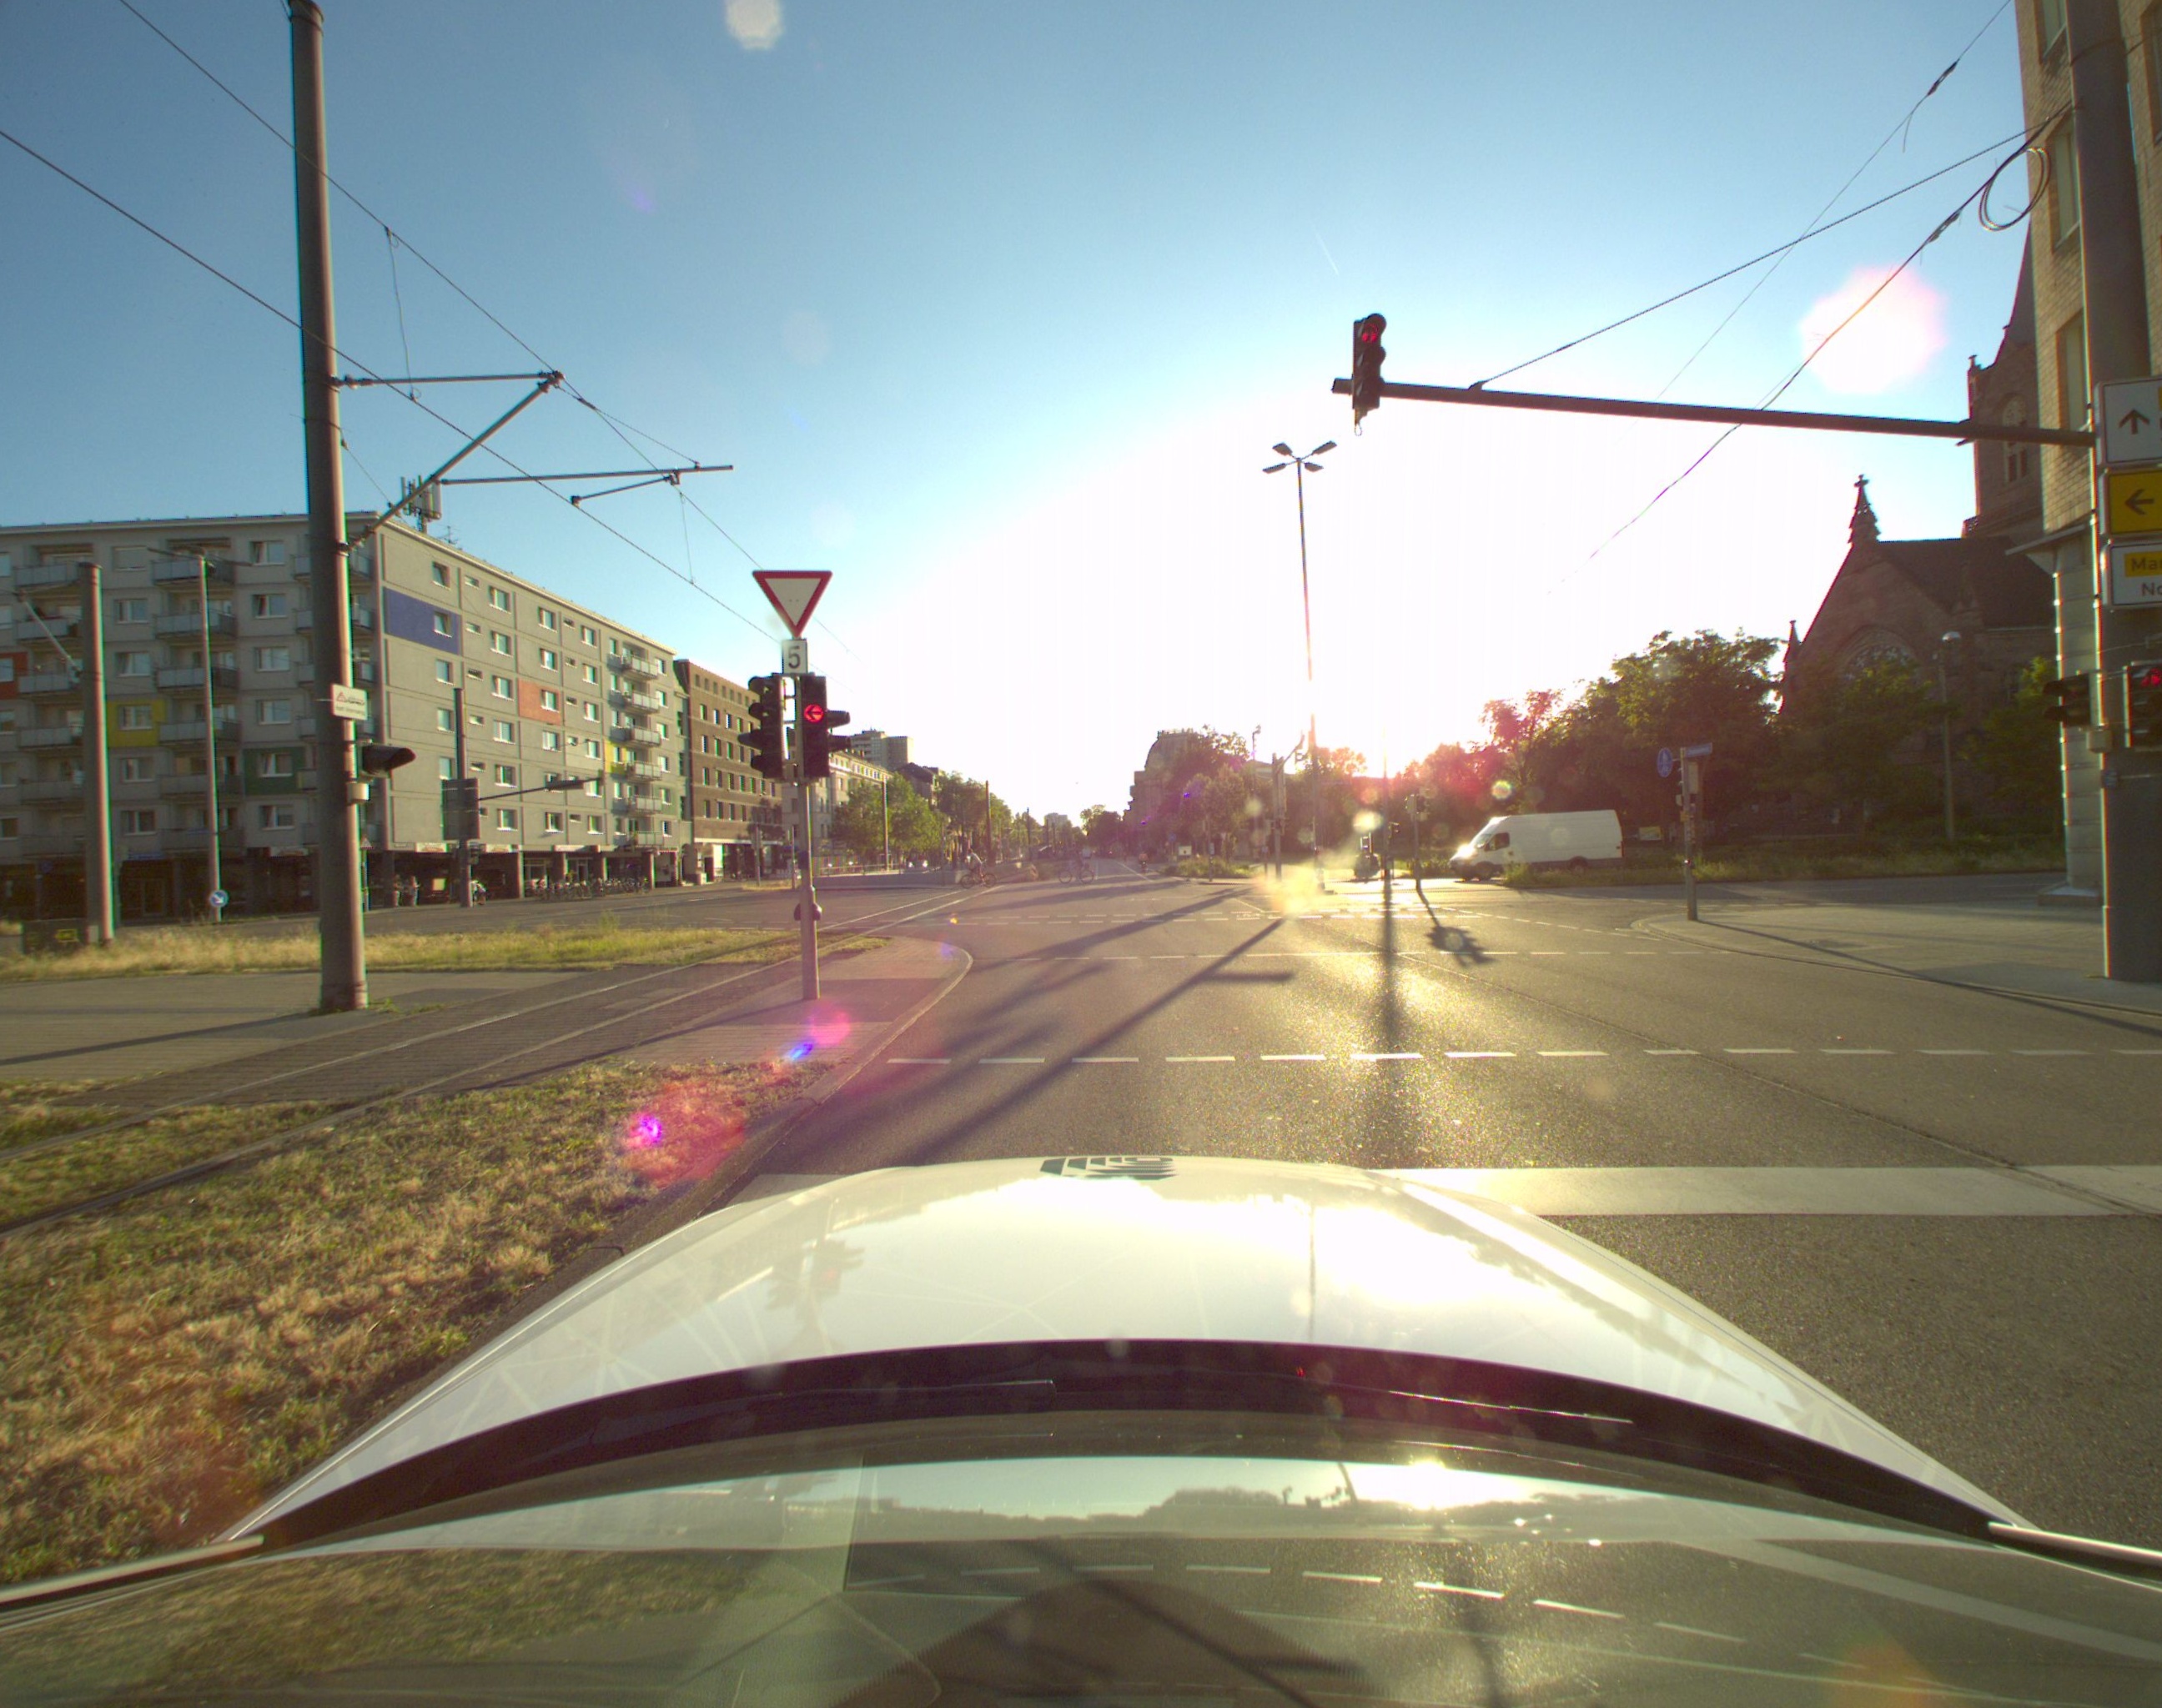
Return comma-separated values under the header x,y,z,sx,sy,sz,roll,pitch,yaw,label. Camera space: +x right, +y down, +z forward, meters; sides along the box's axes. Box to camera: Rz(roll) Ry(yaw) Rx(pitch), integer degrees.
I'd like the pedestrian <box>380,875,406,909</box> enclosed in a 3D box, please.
x,y,z,sx,sy,sz,roll,pitch,yaw,label
-37.720,2.097,44.633,0.826,1.813,0.718,-1,-1,-9,pedestrian

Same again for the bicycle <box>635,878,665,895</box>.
x,y,z,sx,sy,sz,roll,pitch,yaw,label
-30.897,2.321,58.415,1.683,1.170,0.749,-2,0,3,bicycle

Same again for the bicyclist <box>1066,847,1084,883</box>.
x,y,z,sx,sy,sz,roll,pitch,yaw,label
-0.329,0.581,42.943,0.873,1.818,0.538,-2,0,-1,bicyclist

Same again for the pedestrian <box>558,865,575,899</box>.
x,y,z,sx,sy,sz,roll,pitch,yaw,label
-34.354,1.863,54.379,0.599,2.178,0.792,-2,0,1,pedestrian

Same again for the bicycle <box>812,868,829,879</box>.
x,y,z,sx,sy,sz,roll,pitch,yaw,label
-25.973,1.940,81.163,0.503,0.944,1.678,-2,0,27,bicycle

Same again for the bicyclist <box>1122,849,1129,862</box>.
x,y,z,sx,sy,sz,roll,pitch,yaw,label
6.860,0.213,124.893,0.922,2.013,0.851,-2,0,1,bicyclist

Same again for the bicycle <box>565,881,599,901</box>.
x,y,z,sx,sy,sz,roll,pitch,yaw,label
-31.285,2.311,51.054,1.759,1.167,0.540,-2,0,2,bicycle

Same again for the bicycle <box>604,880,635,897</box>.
x,y,z,sx,sy,sz,roll,pitch,yaw,label
-31.147,2.321,54.975,1.748,1.117,0.552,-2,0,2,bicycle

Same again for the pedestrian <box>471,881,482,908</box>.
x,y,z,sx,sy,sz,roll,pitch,yaw,label
-32.841,2.194,44.228,0.383,1.383,0.392,-2,0,-26,pedestrian

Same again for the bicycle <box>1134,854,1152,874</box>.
x,y,z,sx,sy,sz,roll,pitch,yaw,label
4.473,0.730,58.985,1.094,1.399,2.833,-2,0,2,bicycle

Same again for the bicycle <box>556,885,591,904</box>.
x,y,z,sx,sy,sz,roll,pitch,yaw,label
-31.461,2.509,50.482,1.750,1.139,0.600,-2,0,2,bicycle

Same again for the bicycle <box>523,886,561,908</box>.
x,y,z,sx,sy,sz,roll,pitch,yaw,label
-32.286,2.568,48.801,1.788,1.208,0.638,-2,0,0,bicycle

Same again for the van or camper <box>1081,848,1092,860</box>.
x,y,z,sx,sy,sz,roll,pitch,yaw,label
1.296,0.084,192.632,2.441,2.770,5.600,-2,0,0,van or camper

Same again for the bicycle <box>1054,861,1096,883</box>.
x,y,z,sx,sy,sz,roll,pitch,yaw,label
-0.308,0.946,42.935,2.157,1.083,0.538,-1,-1,-1,bicycle

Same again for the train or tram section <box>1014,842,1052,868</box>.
x,y,z,sx,sy,sz,roll,pitch,yaw,label
-7.953,0.055,137.379,4.363,3.849,11.433,-2,2,7,train or tram section

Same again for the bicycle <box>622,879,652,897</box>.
x,y,z,sx,sy,sz,roll,pitch,yaw,label
-30.990,2.381,56.886,1.683,1.153,0.706,-2,0,3,bicycle

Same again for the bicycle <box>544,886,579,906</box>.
x,y,z,sx,sy,sz,roll,pitch,yaw,label
-31.807,2.591,49.862,1.770,1.142,0.608,-2,0,1,bicycle

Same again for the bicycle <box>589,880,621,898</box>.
x,y,z,sx,sy,sz,roll,pitch,yaw,label
-31.824,2.357,54.434,1.764,1.136,0.606,-2,0,2,bicycle

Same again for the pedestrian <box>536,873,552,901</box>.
x,y,z,sx,sy,sz,roll,pitch,yaw,label
-33.245,2.028,50.406,0.576,1.684,0.547,-2,0,3,pedestrian

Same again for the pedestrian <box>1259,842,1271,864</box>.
x,y,z,sx,sy,sz,roll,pitch,yaw,label
15.125,-0.104,66.883,0.826,1.803,0.814,-2,0,17,pedestrian

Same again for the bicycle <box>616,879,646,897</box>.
x,y,z,sx,sy,sz,roll,pitch,yaw,label
-31.058,2.349,56.193,1.719,1.124,0.634,-2,-1,3,bicycle

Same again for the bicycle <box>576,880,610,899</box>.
x,y,z,sx,sy,sz,roll,pitch,yaw,label
-31.799,2.330,53.109,1.824,1.160,0.640,-2,0,1,bicycle

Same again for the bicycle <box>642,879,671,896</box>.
x,y,z,sx,sy,sz,roll,pitch,yaw,label
-30.807,2.404,59.144,1.683,1.144,0.697,-2,0,3,bicycle

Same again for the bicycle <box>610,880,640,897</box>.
x,y,z,sx,sy,sz,roll,pitch,yaw,label
-31.110,2.339,55.561,1.754,1.119,0.568,-2,0,2,bicycle

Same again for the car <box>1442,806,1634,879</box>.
x,y,z,sx,sy,sz,roll,pitch,yaw,label
19.600,-0.485,35.207,6.981,2.827,2.095,-2,0,3,car

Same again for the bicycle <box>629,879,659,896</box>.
x,y,z,sx,sy,sz,roll,pitch,yaw,label
-30.936,2.363,57.639,1.683,1.179,0.749,-2,0,3,bicycle

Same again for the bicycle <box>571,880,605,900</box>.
x,y,z,sx,sy,sz,roll,pitch,yaw,label
-31.249,2.290,51.652,1.762,1.182,0.568,-2,0,1,bicycle

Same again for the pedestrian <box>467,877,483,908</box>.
x,y,z,sx,sy,sz,roll,pitch,yaw,label
-32.517,2.042,43.716,0.575,1.620,0.598,-2,0,-29,pedestrian

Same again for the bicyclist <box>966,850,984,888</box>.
x,y,z,sx,sy,sz,roll,pitch,yaw,label
-5.170,0.727,39.798,0.792,1.818,0.645,-2,0,-7,bicyclist

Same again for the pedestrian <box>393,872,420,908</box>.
x,y,z,sx,sy,sz,roll,pitch,yaw,label
-36.317,1.940,43.842,0.785,1.841,0.733,-2,0,-7,pedestrian

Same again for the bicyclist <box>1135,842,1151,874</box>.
x,y,z,sx,sy,sz,roll,pitch,yaw,label
4.464,0.303,58.931,1.078,2.276,0.986,-2,0,1,bicyclist

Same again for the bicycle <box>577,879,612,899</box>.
x,y,z,sx,sy,sz,roll,pitch,yaw,label
-31.241,2.258,52.302,1.782,1.191,0.652,-2,0,1,bicycle

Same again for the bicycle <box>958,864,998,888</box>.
x,y,z,sx,sy,sz,roll,pitch,yaw,label
-5.033,1.087,39.821,1.899,1.075,0.630,-2,0,-8,bicycle

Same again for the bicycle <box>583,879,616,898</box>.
x,y,z,sx,sy,sz,roll,pitch,yaw,label
-31.802,2.299,53.764,1.769,1.159,0.606,-2,0,1,bicycle

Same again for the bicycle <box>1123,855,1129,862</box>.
x,y,z,sx,sy,sz,roll,pitch,yaw,label
6.881,0.676,124.899,0.921,1.111,2.334,-2,0,2,bicycle
